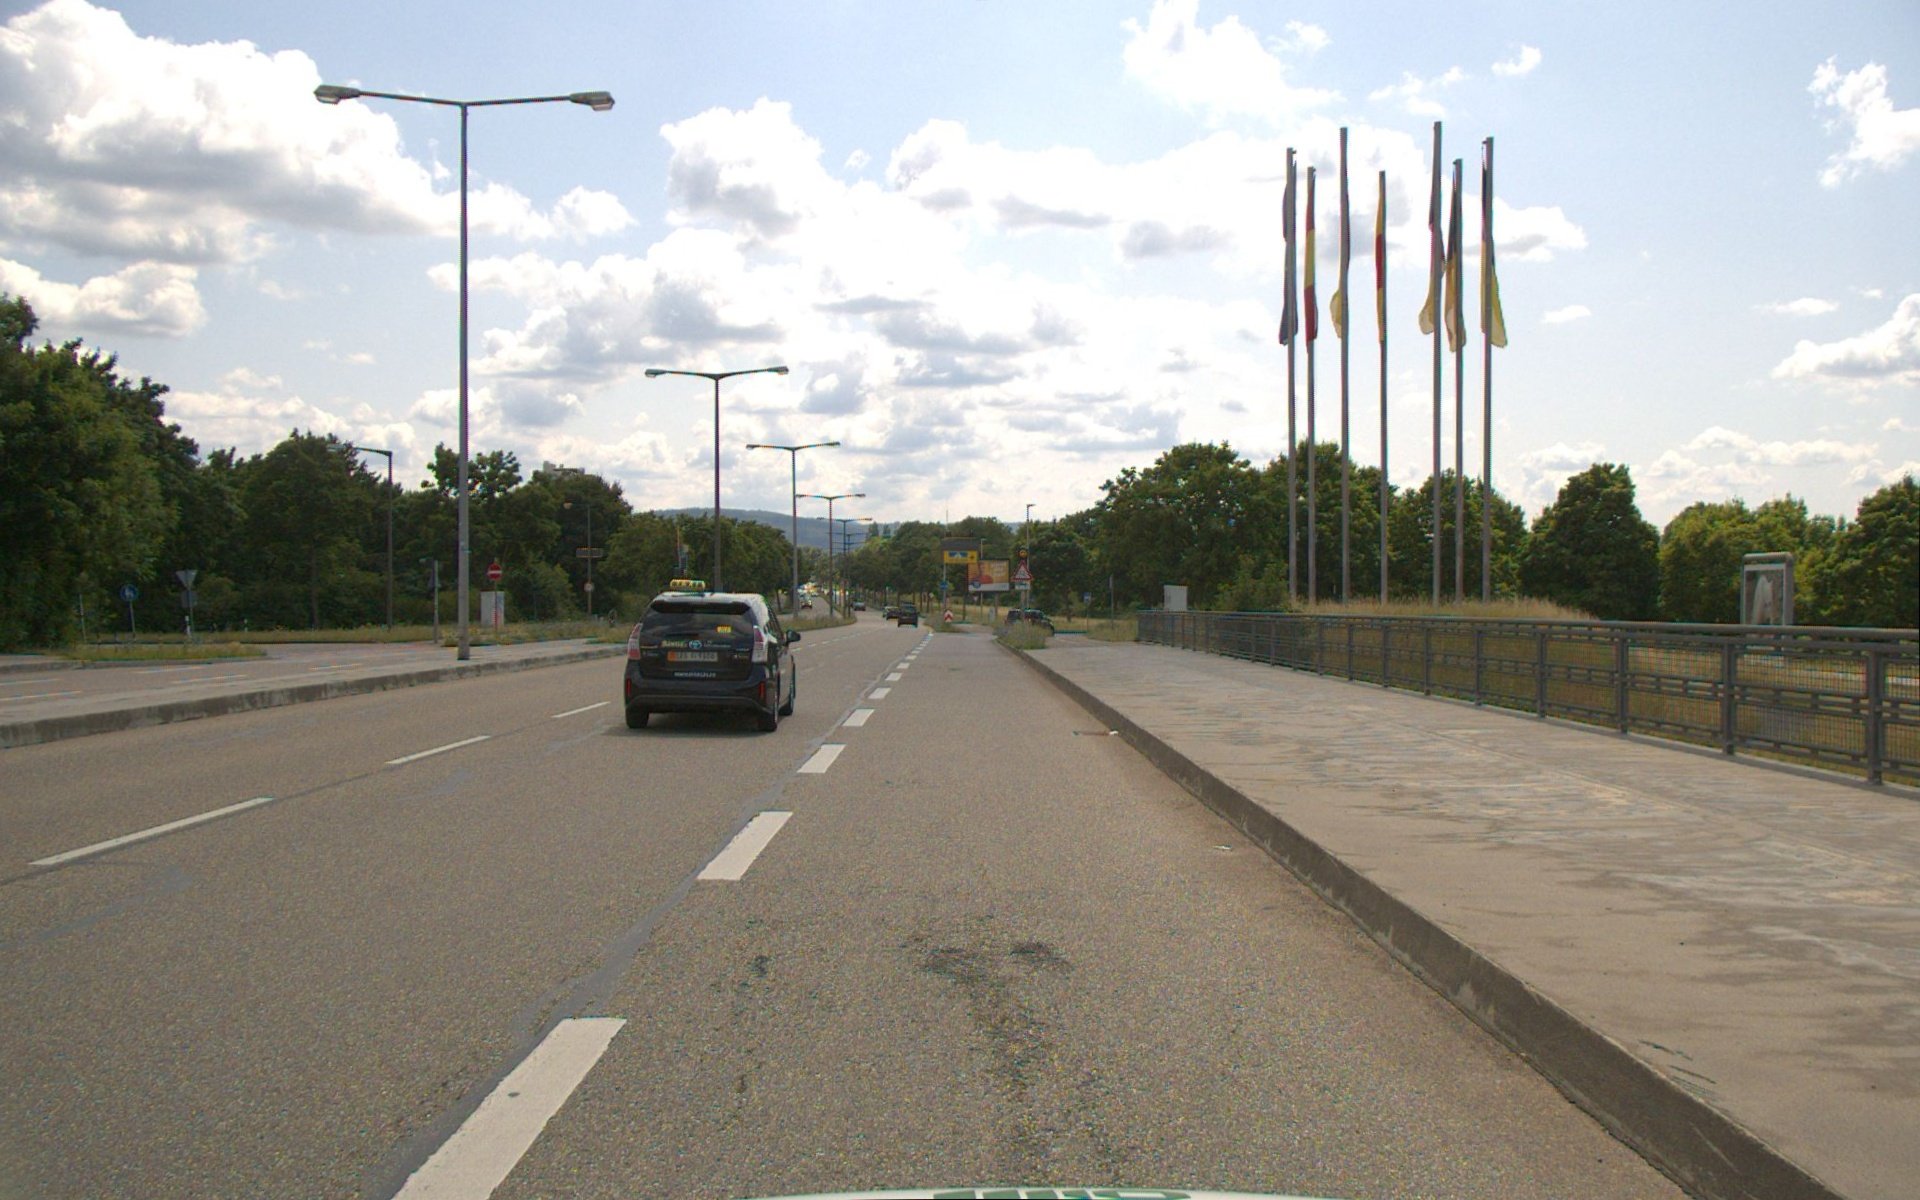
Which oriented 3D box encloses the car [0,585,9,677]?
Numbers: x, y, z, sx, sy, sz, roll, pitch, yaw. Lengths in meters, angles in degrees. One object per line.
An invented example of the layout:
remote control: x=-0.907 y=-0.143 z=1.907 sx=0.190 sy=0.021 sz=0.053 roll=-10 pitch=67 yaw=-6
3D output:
car: x=-18.329 y=0.618 z=27.886 sx=2.046 sy=1.655 sz=4.548 roll=-1 pitch=1 yaw=-2

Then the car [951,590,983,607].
car: x=0.763 y=-0.195 z=174.703 sx=1.967 sy=1.691 sz=3.972 roll=1 pitch=1 yaw=-23

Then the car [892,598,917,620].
car: x=-4.778 y=0.771 z=141.649 sx=1.954 sy=1.691 sz=3.997 roll=1 pitch=1 yaw=-4

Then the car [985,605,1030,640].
car: x=2.504 y=1.166 z=87.337 sx=1.954 sy=1.691 sz=3.997 roll=1 pitch=1 yaw=-4

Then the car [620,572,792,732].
car: x=-2.986 y=0.539 z=20.162 sx=1.744 sy=1.713 sz=3.997 roll=1 pitch=1 yaw=-5
